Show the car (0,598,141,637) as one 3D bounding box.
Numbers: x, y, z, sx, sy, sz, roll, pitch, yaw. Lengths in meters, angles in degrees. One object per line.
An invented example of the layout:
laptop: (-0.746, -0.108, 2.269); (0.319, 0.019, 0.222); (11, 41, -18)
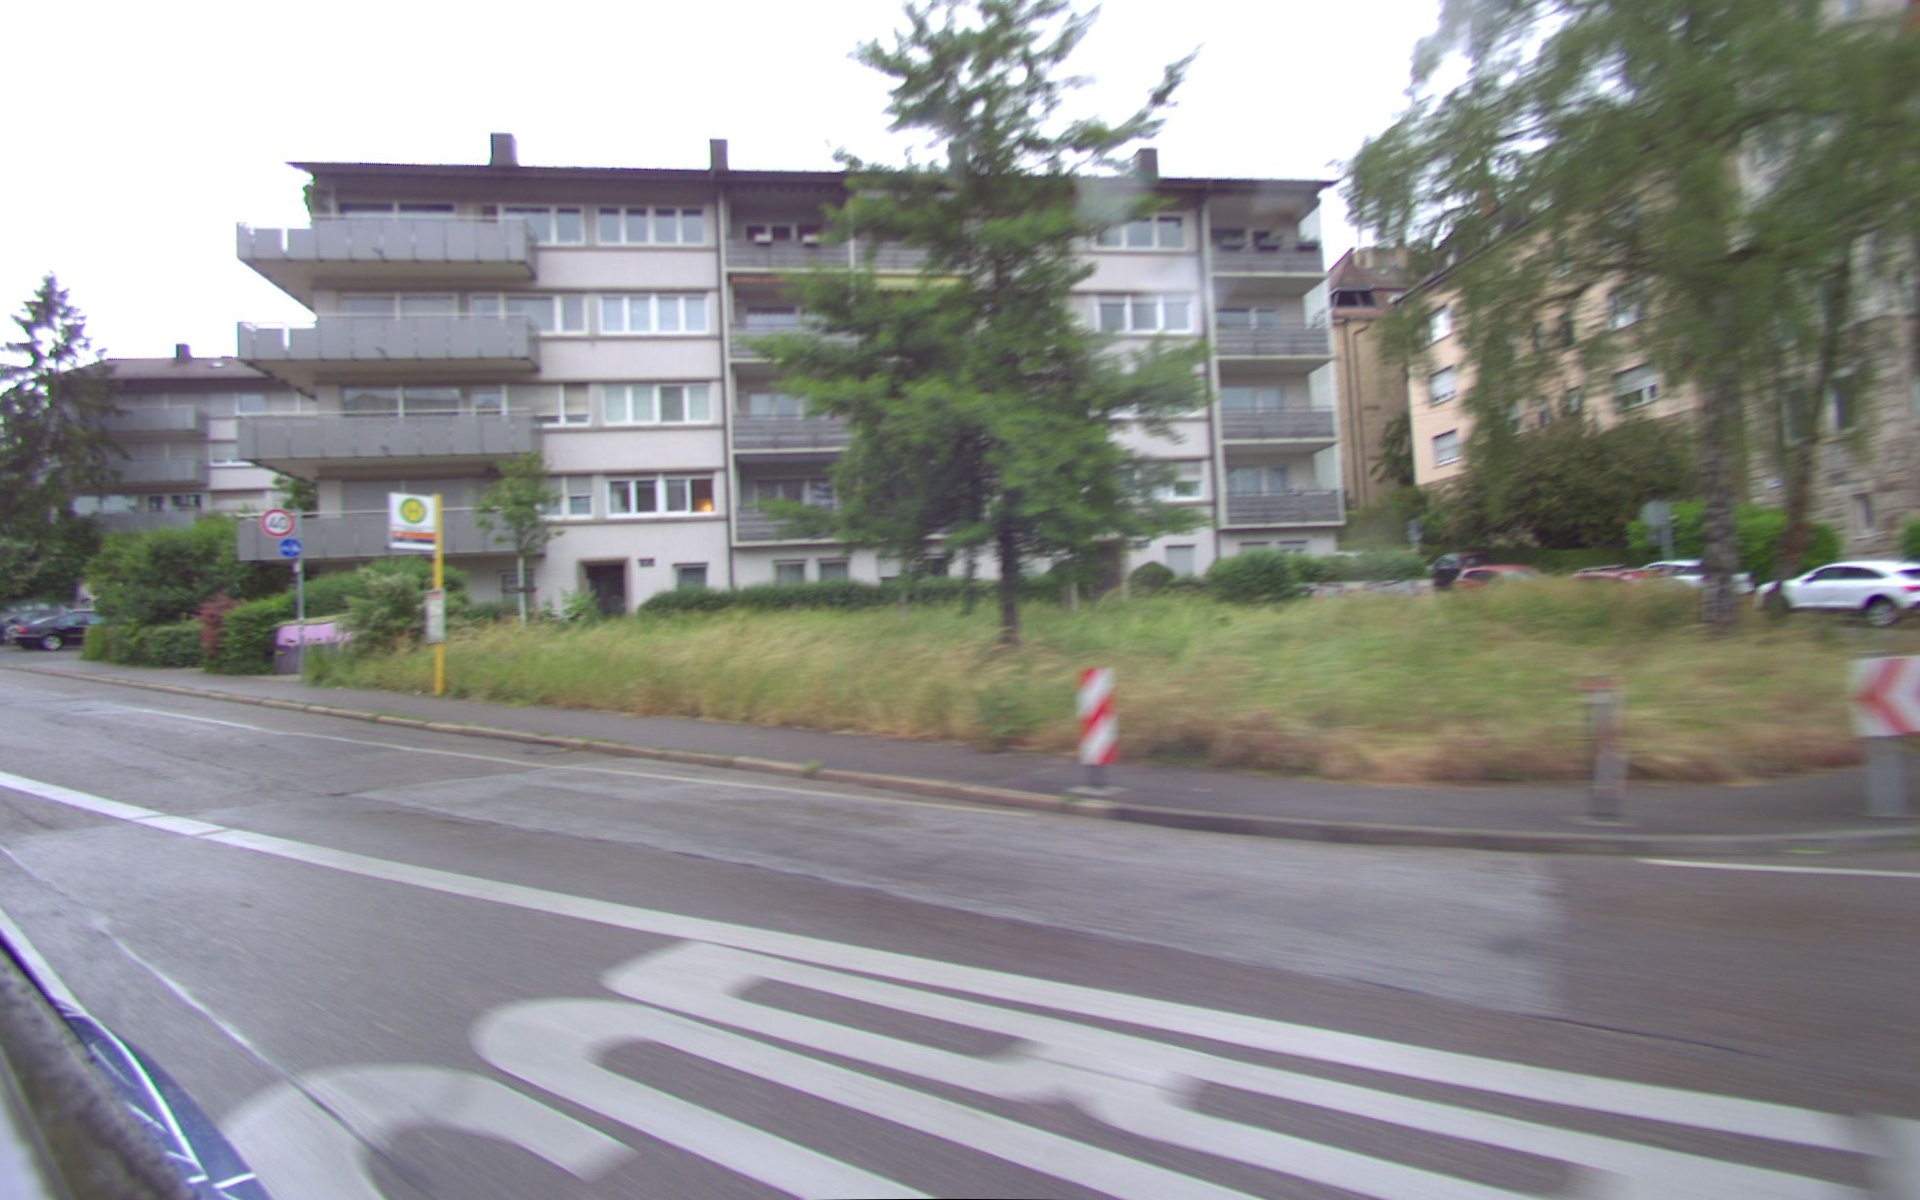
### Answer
car: (-37.165, 0.702, 42.203); (1.770, 1.539, 4.390); (0, -1, 35)

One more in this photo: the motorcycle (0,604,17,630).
motorcycle: (-48.455, 0.825, 49.882); (2.766, 1.282, 1.282); (0, 0, -38)

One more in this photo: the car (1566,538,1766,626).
car: (17.698, -0.399, 25.638); (1.969, 2.029, 4.005); (-1, -1, -6)

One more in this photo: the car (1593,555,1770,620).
car: (21.833, -0.326, 30.862); (1.776, 1.849, 4.294); (1, -1, -12)

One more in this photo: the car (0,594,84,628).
car: (-43.411, 0.505, 46.614); (1.772, 1.539, 4.387); (0, -1, 37)

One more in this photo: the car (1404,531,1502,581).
car: (19.989, -1.739, 41.213); (1.653, 1.849, 3.675); (-1, 0, -12)

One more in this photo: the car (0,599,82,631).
car: (-45.322, 0.713, 48.699); (1.772, 1.539, 4.387); (0, -1, 37)

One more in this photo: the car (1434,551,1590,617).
car: (16.616, -0.458, 30.739); (1.776, 1.849, 4.294); (-1, 0, -12)

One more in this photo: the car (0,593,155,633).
car: (-35.364, 0.479, 40.649); (1.845, 1.501, 4.443); (0, 1, 38)

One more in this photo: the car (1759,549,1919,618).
car: (22.874, -0.396, 25.286); (1.968, 1.605, 4.365); (-1, 0, -9)

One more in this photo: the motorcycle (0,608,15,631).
motorcycle: (-47.141, 0.934, 48.698); (0.661, 1.117, 2.427); (0, -1, 44)
